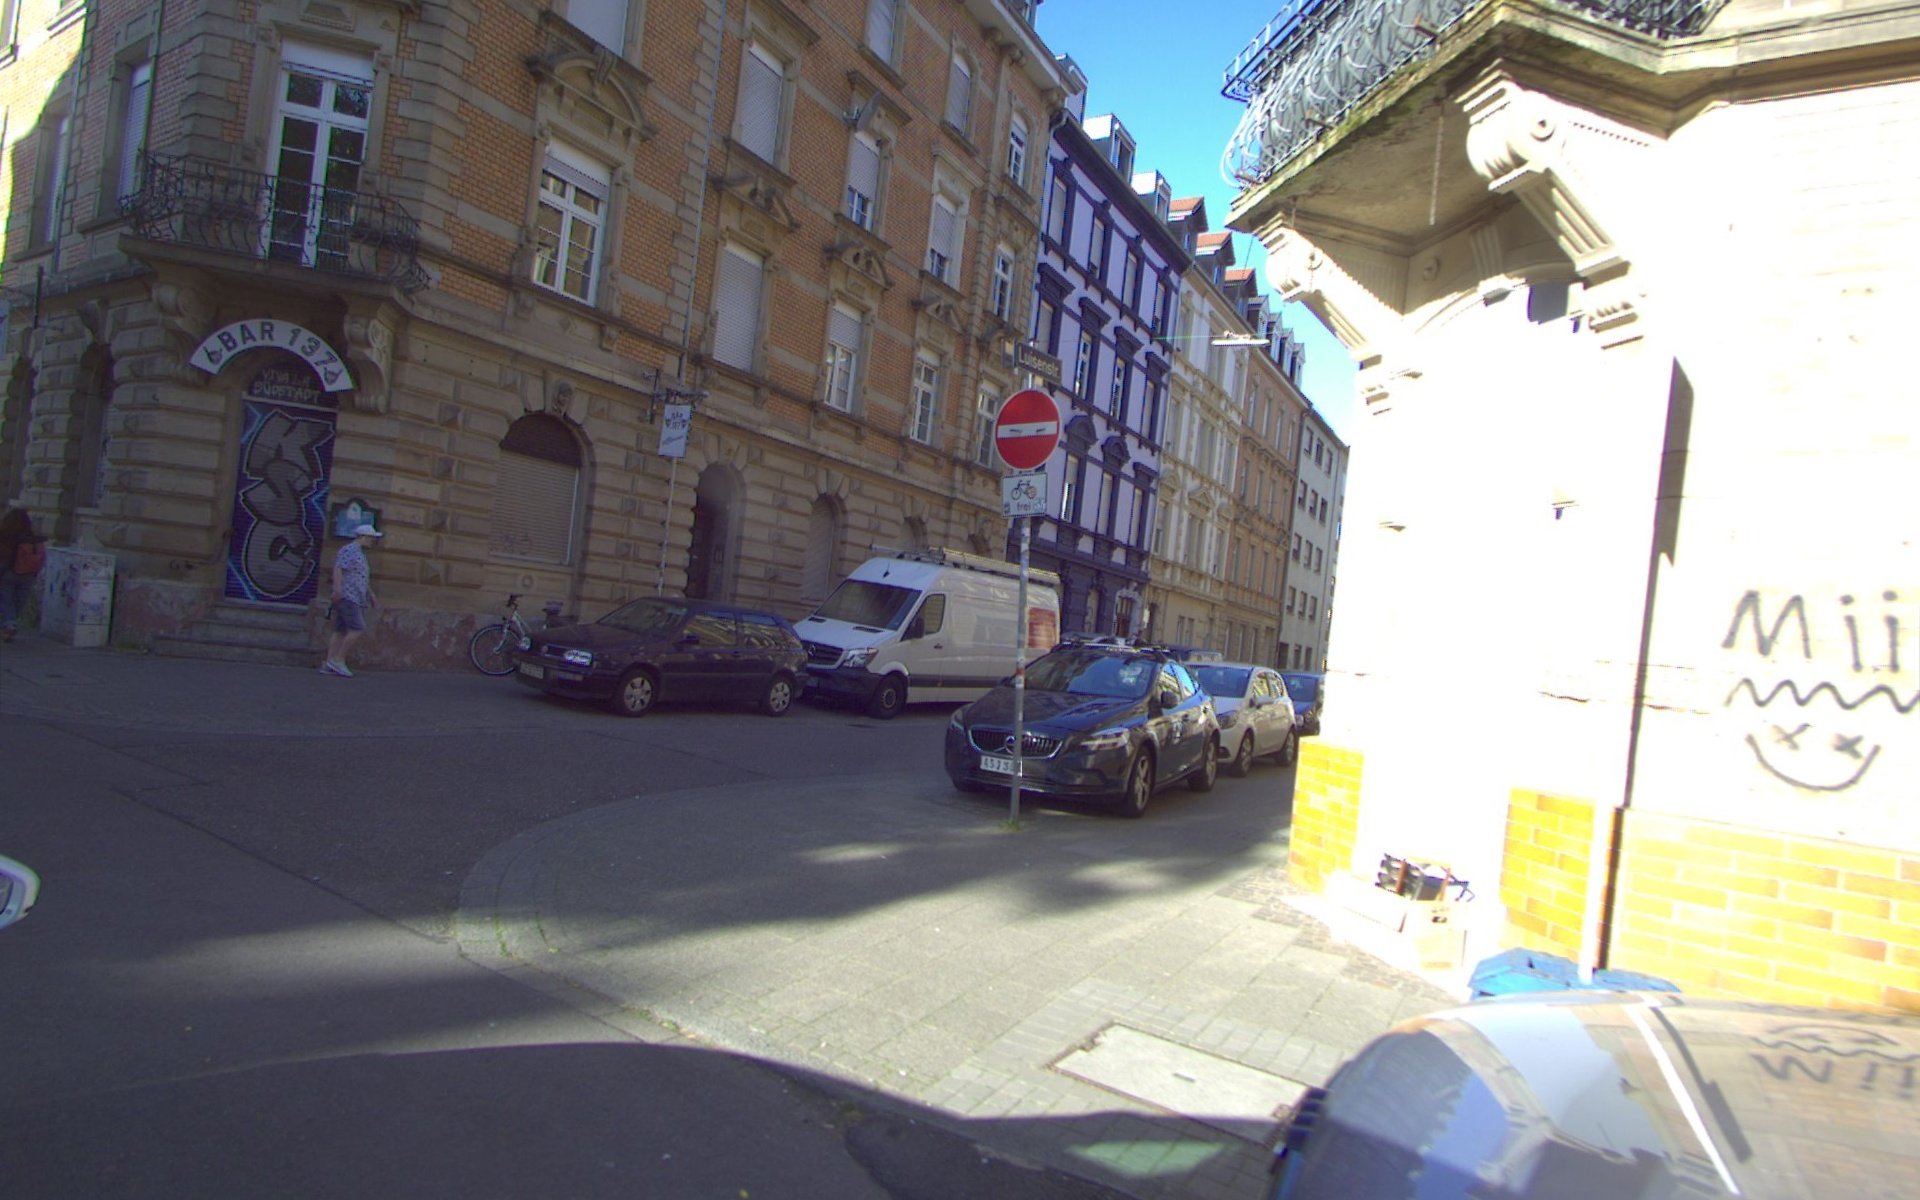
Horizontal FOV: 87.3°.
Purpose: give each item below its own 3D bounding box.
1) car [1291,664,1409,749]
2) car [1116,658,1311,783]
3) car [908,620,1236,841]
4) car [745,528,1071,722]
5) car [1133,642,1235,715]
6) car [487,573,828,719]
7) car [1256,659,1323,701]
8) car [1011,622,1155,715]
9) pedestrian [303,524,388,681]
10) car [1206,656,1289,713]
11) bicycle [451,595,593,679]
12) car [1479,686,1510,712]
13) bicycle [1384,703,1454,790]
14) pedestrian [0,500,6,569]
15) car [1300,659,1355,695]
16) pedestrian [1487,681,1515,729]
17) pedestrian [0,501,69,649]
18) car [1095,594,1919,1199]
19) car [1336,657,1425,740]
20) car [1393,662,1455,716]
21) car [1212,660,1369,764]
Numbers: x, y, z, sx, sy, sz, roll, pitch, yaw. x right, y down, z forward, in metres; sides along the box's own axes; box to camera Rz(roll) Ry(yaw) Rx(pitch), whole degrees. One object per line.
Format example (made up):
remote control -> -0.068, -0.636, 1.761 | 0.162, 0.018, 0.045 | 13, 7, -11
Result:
car -> 9.105, 2.429, 23.300 | 1.707, 1.601, 3.992 | 6, -1, 32
car -> 3.783, 1.648, 14.528 | 1.564, 1.456, 3.992 | 2, -3, 31
car -> 1.341, 1.132, 9.809 | 1.738, 1.488, 4.252 | 6, -1, 26
car -> -0.563, 0.612, 18.104 | 2.032, 2.683, 6.818 | 9, 0, 32
car -> 6.671, 2.330, 29.703 | 1.573, 1.854, 4.098 | 5, -2, 31
car -> -3.738, 0.663, 13.100 | 1.705, 1.469, 3.985 | 7, -1, 33
car -> 13.258, 3.225, 40.352 | 1.575, 1.406, 3.760 | 6, -1, 32
car -> 3.037, 1.680, 23.977 | 1.691, 1.820, 4.406 | 7, -1, 29
pedestrian -> -7.228, 0.031, 11.824 | 0.658, 1.754, 0.569 | 5, 1, -38
car -> 10.153, 2.968, 35.348 | 1.671, 1.721, 3.993 | 6, -1, 31
bicycle -> -6.179, 0.553, 14.294 | 0.525, 1.067, 1.778 | 6, -1, 31
car -> 35.815, 6.628, 67.359 | 1.477, 1.505, 3.520 | 5, -2, 32
bicycle -> 6.489, 2.026, 14.183 | 0.620, 1.072, 1.880 | 4, -2, 31
pedestrian -> -11.125, -0.342, 11.105 | 0.715, 1.624, 0.591 | 7, 1, 30
car -> 17.410, 3.659, 47.574 | 1.575, 1.443, 3.862 | 6, -1, 32
pedestrian -> 19.278, 3.732, 35.830 | 0.699, 1.586, 0.722 | 6, 0, 32
pedestrian -> -10.924, -0.301, 11.682 | 0.722, 1.642, 0.574 | 7, 1, 30
car -> 2.455, 1.001, 0.694 | 4.438, 1.475, 1.709 | 6, -3, 33
car -> 11.871, 2.741, 28.267 | 1.512, 1.995, 4.021 | 6, -1, 32
car -> 17.645, 3.376, 38.182 | 1.512, 1.770, 4.050 | 6, -1, 32
car -> 6.137, 1.994, 18.377 | 1.707, 1.487, 3.992 | 6, -1, 32
